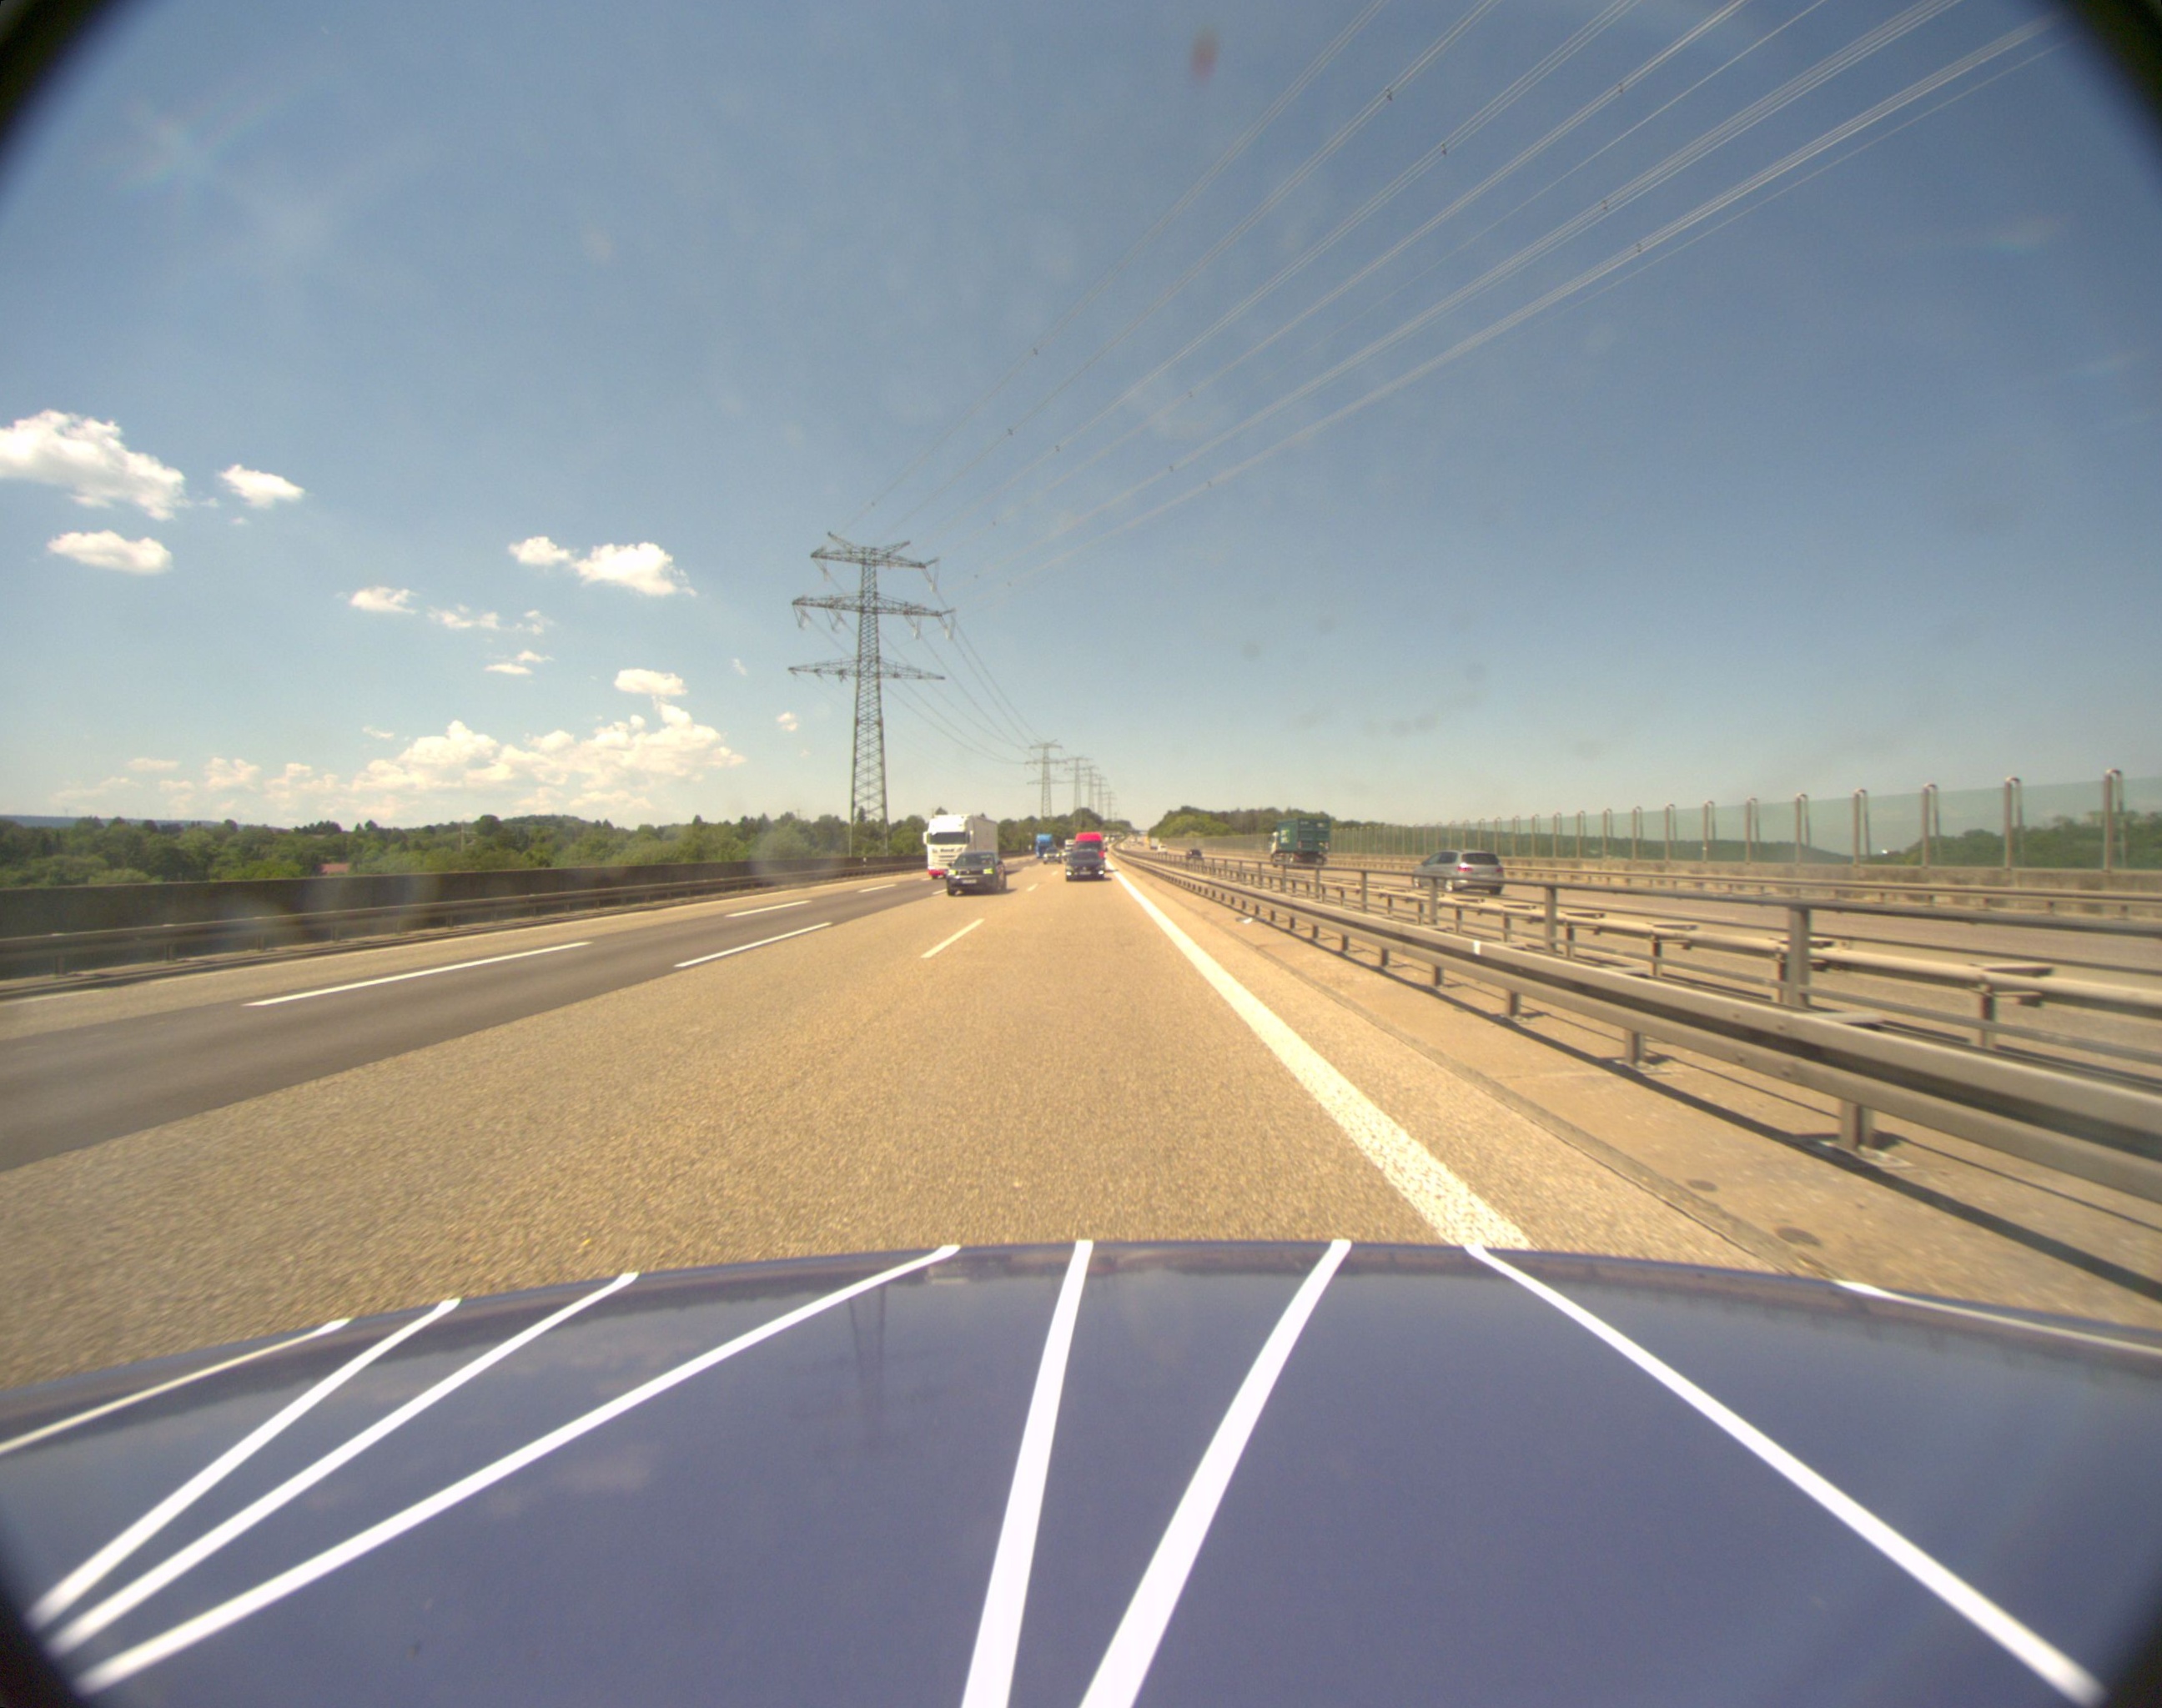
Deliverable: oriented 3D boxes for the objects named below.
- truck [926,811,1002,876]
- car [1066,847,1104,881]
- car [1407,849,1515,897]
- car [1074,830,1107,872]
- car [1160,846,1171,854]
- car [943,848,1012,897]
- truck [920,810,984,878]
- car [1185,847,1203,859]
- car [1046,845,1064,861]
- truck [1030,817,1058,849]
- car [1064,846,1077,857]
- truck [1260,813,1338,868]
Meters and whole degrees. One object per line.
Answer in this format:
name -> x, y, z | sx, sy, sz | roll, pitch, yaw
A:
truck -> -7.855, -0.700, 53.141 | 3.076, 3.885, 12.503 | -2, 0, 1
car -> 0.222, 0.449, 36.712 | 1.735, 1.535, 3.750 | 0, 1, 1
car -> 13.563, 0.646, 27.386 | 1.786, 1.596, 4.046 | 0, 0, -1
car -> 0.637, -0.216, 50.397 | 2.100, 2.598, 4.496 | 0, 1, 1
car -> 18.111, -0.898, 163.649 | 1.955, 1.600, 4.046 | -1, 1, 1
car -> -3.820, 0.620, 28.745 | 1.955, 1.637, 4.046 | -2, 1, 1
truck -> -7.876, -0.584, 46.753 | 3.076, 3.885, 3.847 | -2, 1, 1
car -> 14.952, -0.165, 100.699 | 1.955, 1.557, 4.046 | 0, 1, 1
car -> -2.754, -0.130, 81.722 | 1.749, 1.691, 4.088 | -1, 1, 1
truck -> -6.177, -3.496, 129.499 | 3.798, 4.971, 14.922 | -2, 1, 1
car -> -1.677, -0.394, 119.469 | 1.879, 1.591, 3.688 | 0, 1, 1
truck -> 17.898, -1.065, 63.457 | 3.315, 4.114, 11.090 | 1, 1, 1
